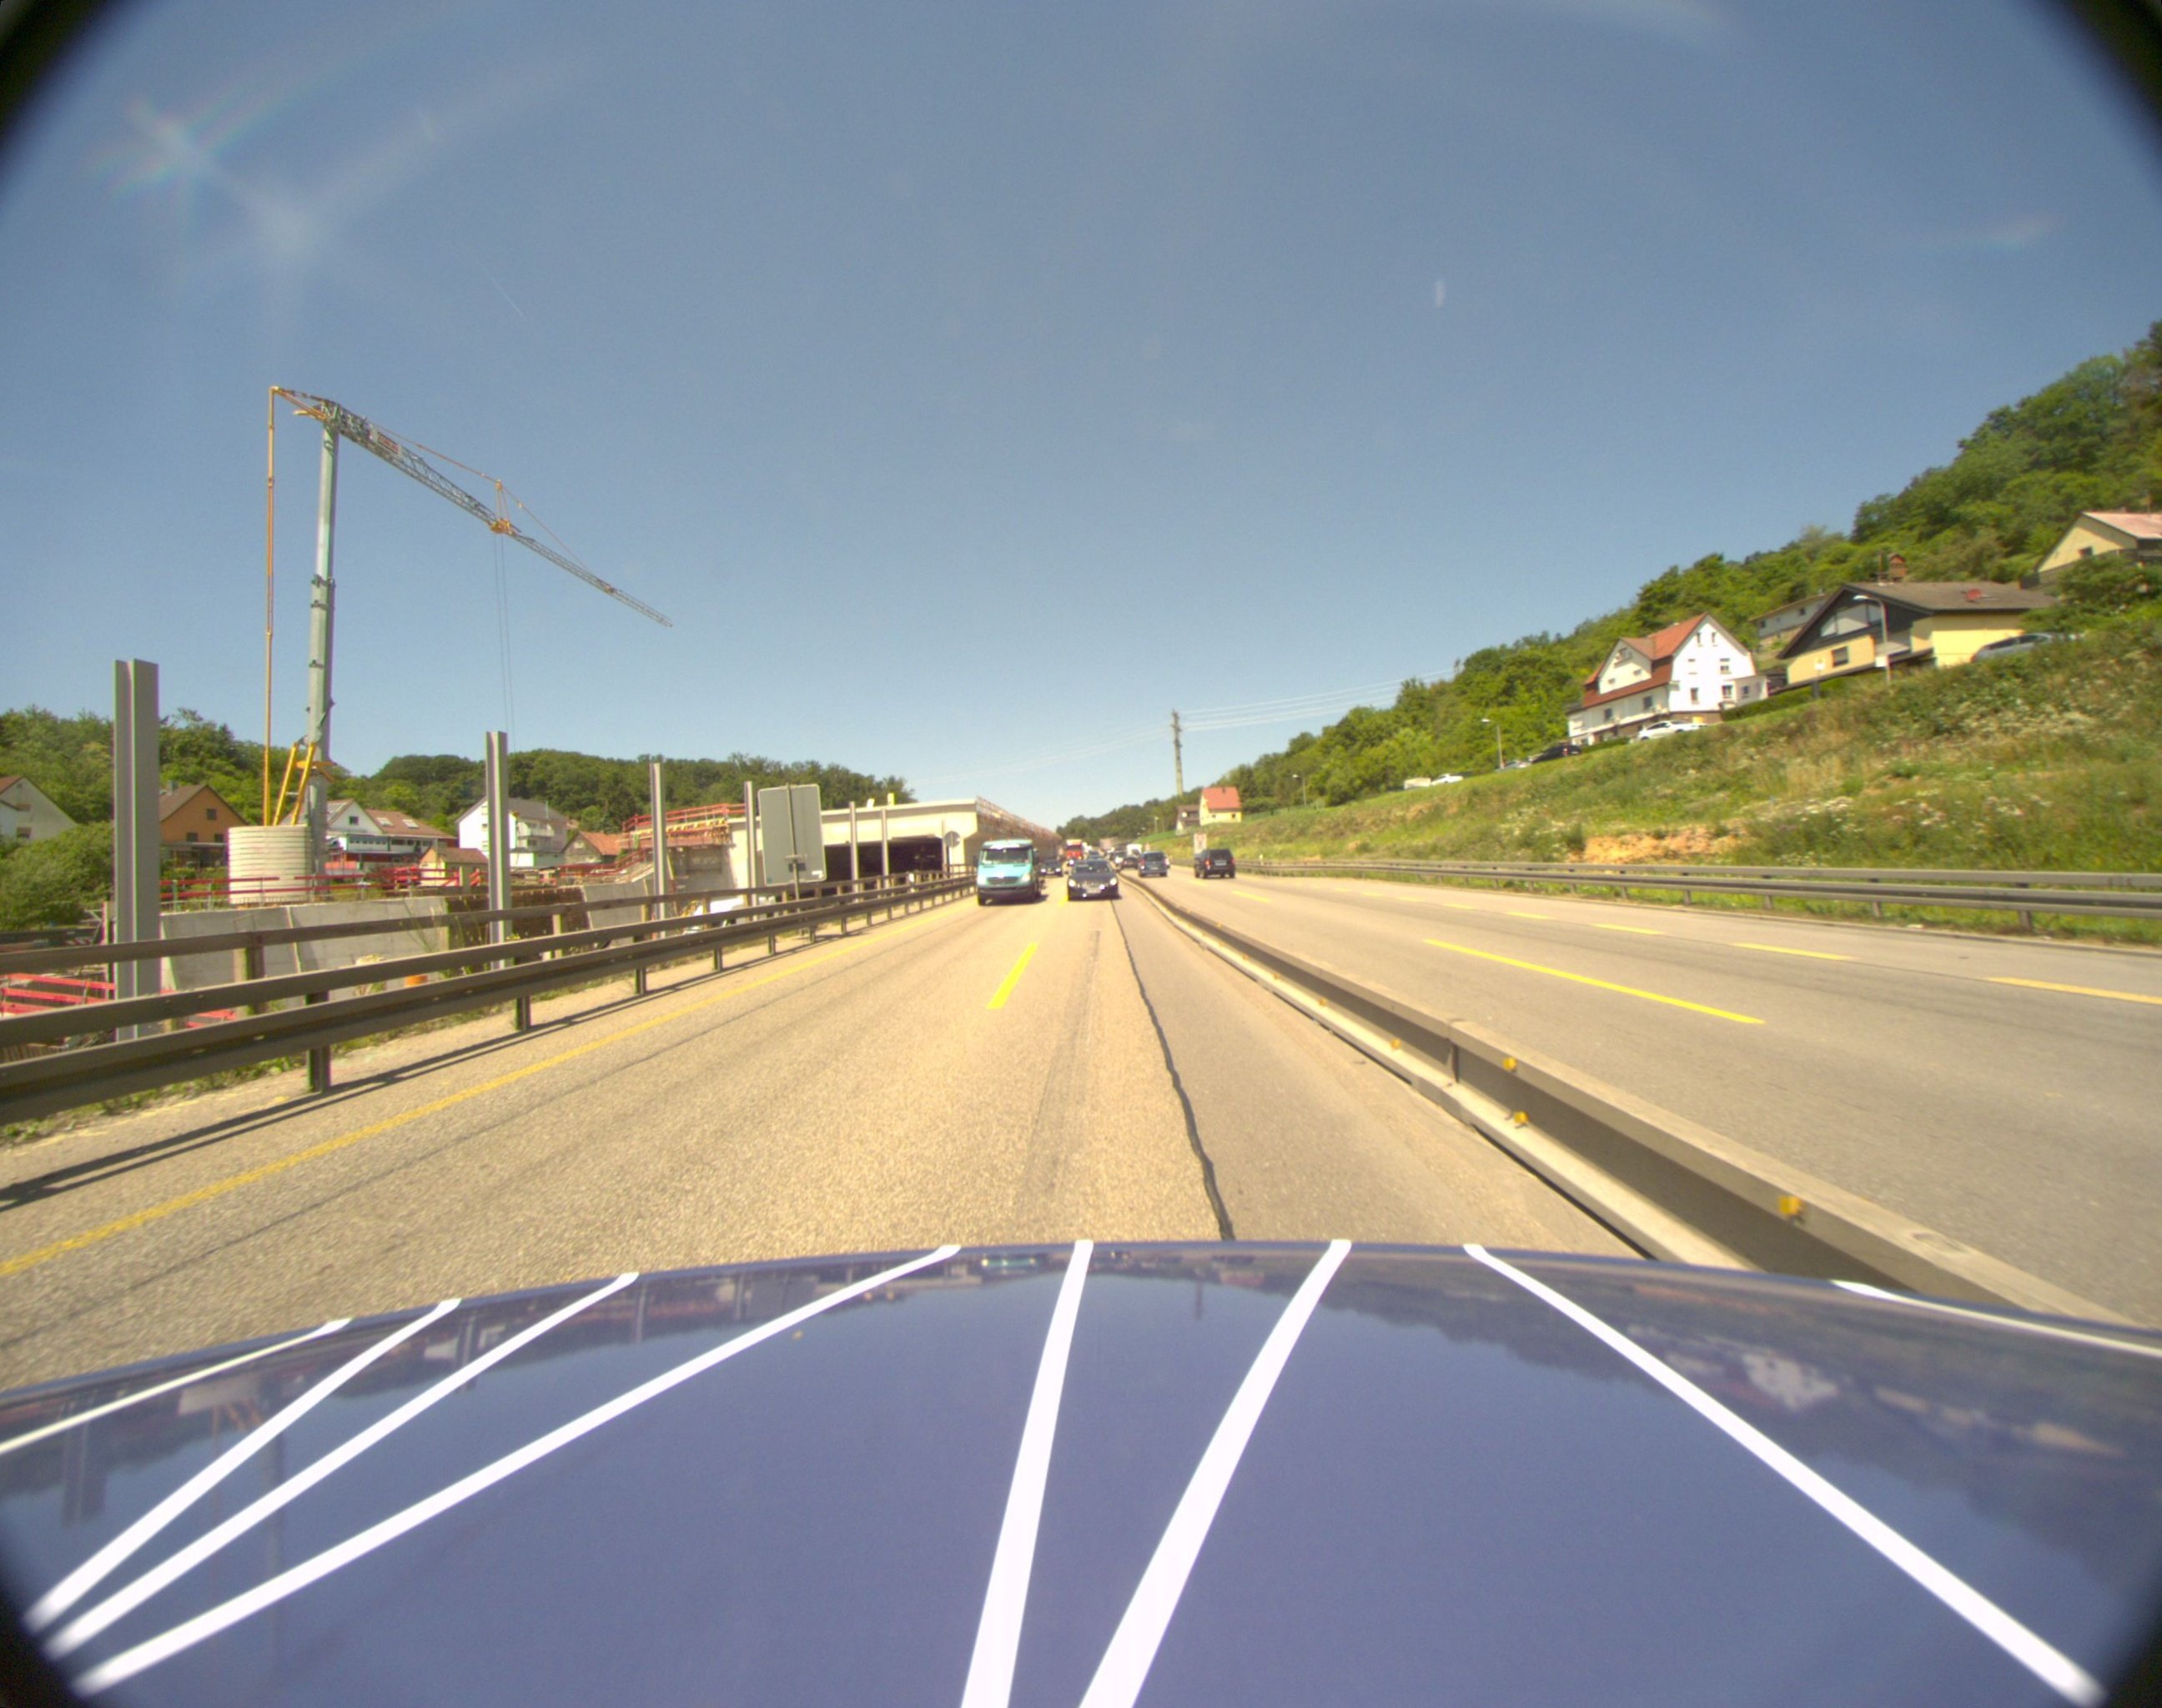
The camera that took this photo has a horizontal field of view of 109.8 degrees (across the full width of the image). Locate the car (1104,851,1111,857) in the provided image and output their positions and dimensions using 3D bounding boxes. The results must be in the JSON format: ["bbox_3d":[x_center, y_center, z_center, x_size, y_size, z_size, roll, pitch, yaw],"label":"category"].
[{"bbox_3d":[6.743,-0.018,193.696,1.847,1.467,4.834,-2,0,1],"label":"car"}]

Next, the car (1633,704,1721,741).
[{"bbox_3d":[41.888,-9.203,53.586,1.999,1.784,5.008,-2,1,-6],"label":"car"}]

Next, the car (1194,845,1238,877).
[{"bbox_3d":[7.936,0.397,44.926,1.832,1.755,4.497,-1,0,1],"label":"car"}]

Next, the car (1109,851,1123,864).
[{"bbox_3d":[5.487,0.501,119.837,1.915,2.002,4.905,-2,0,0],"label":"car"}]

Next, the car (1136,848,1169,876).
[{"bbox_3d":[4.869,0.502,52.454,1.850,1.767,4.882,-2,0,1],"label":"car"}]

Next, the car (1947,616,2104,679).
[{"bbox_3d":[42.525,-9.266,34.370,1.999,1.784,3.997,-2,1,-6],"label":"car"}]

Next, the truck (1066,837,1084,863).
[{"bbox_3d":[-1.034,-0.770,132.900,2.750,4.222,9.093,-2,1,1],"label":"truck"}]

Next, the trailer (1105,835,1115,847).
[{"bbox_3d":[10.015,-4.516,266.637,2.937,3.966,8.704,-2,1,0],"label":"trailer"}]

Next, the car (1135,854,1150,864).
[{"bbox_3d":[9.070,0.699,112.384,1.814,1.423,4.555,-3,0,1],"label":"car"}]

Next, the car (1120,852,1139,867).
[{"bbox_3d":[5.123,0.571,80.744,1.802,1.458,4.355,-1,0,1],"label":"car"}]

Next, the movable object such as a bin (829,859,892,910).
[{"bbox_3d":[-20.316,2.663,70.738,2.961,4.040,9.154,-2,1,1],"label":"movable object such as a bin"}]

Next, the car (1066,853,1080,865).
[{"bbox_3d":[-1.137,0.751,111.896,1.883,1.532,4.281,-2,1,1],"label":"car"}]

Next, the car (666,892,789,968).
[{"bbox_3d":[-17.108,3.573,37.408,2.149,2.840,7.023,-2,1,5],"label":"car"}]

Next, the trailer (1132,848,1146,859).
[{"bbox_3d":[9.948,-0.070,130.927,2.106,1.883,5.141,-2,0,1],"label":"trailer"}]

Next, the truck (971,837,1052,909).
[{"bbox_3d":[-2.465,0.563,29.204,2.139,2.344,7.432,-2,1,2],"label":"truck"}]

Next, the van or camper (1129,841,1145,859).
[{"bbox_3d":[10.059,-0.679,136.830,2.297,3.048,6.923,-2,0,1],"label":"van or camper"}]

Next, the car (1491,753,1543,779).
[{"bbox_3d":[40.364,-8.140,70.480,1.999,1.861,4.428,-2,1,-5],"label":"car"}]

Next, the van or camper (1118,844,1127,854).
[{"bbox_3d":[10.921,-1.394,200.396,2.145,2.558,6.564,-3,0,1],"label":"van or camper"}]

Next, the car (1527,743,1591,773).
[{"bbox_3d":[41.012,-8.183,65.379,2.077,1.997,4.970,-2,1,-4],"label":"car"}]

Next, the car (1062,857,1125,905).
[{"bbox_3d":[0.479,0.894,27.417,1.998,1.441,4.601,-2,1,2],"label":"car"}]

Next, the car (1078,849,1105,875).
[{"bbox_3d":[0.844,0.579,58.709,1.884,1.805,4.250,-2,1,3],"label":"car"}]

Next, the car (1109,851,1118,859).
[{"bbox_3d":[5.892,0.165,137.327,1.487,1.496,2.805,-2,0,1],"label":"car"}]

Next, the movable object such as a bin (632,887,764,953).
[{"bbox_3d":[-24.718,4.265,49.076,7.141,2.883,3.503,-11,-2,23],"label":"movable object such as a bin"}]

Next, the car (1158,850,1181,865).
[{"bbox_3d":[9.322,0.358,80.452,1.808,1.488,4.599,-2,0,0],"label":"car"}]

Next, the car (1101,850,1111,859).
[{"bbox_3d":[5.328,0.052,160.354,1.842,1.817,5.040,-2,0,0],"label":"car"}]

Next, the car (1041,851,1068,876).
[{"bbox_3d":[-2.127,0.741,62.093,1.885,1.805,4.249,-2,1,1],"label":"car"}]

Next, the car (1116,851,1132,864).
[{"bbox_3d":[5.665,0.408,100.362,1.811,1.630,4.172,-2,0,0],"label":"car"}]

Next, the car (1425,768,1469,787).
[{"bbox_3d":[38.964,-8.129,80.955,2.000,1.646,4.548,-3,1,-8],"label":"car"}]

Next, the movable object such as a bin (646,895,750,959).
[{"bbox_3d":[-19.845,3.719,39.761,2.149,2.661,5.501,-2,1,5],"label":"movable object such as a bin"}]

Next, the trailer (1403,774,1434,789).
[{"bbox_3d":[38.241,-8.213,86.149,1.908,1.507,3.034,-3,1,-10],"label":"trailer"}]
